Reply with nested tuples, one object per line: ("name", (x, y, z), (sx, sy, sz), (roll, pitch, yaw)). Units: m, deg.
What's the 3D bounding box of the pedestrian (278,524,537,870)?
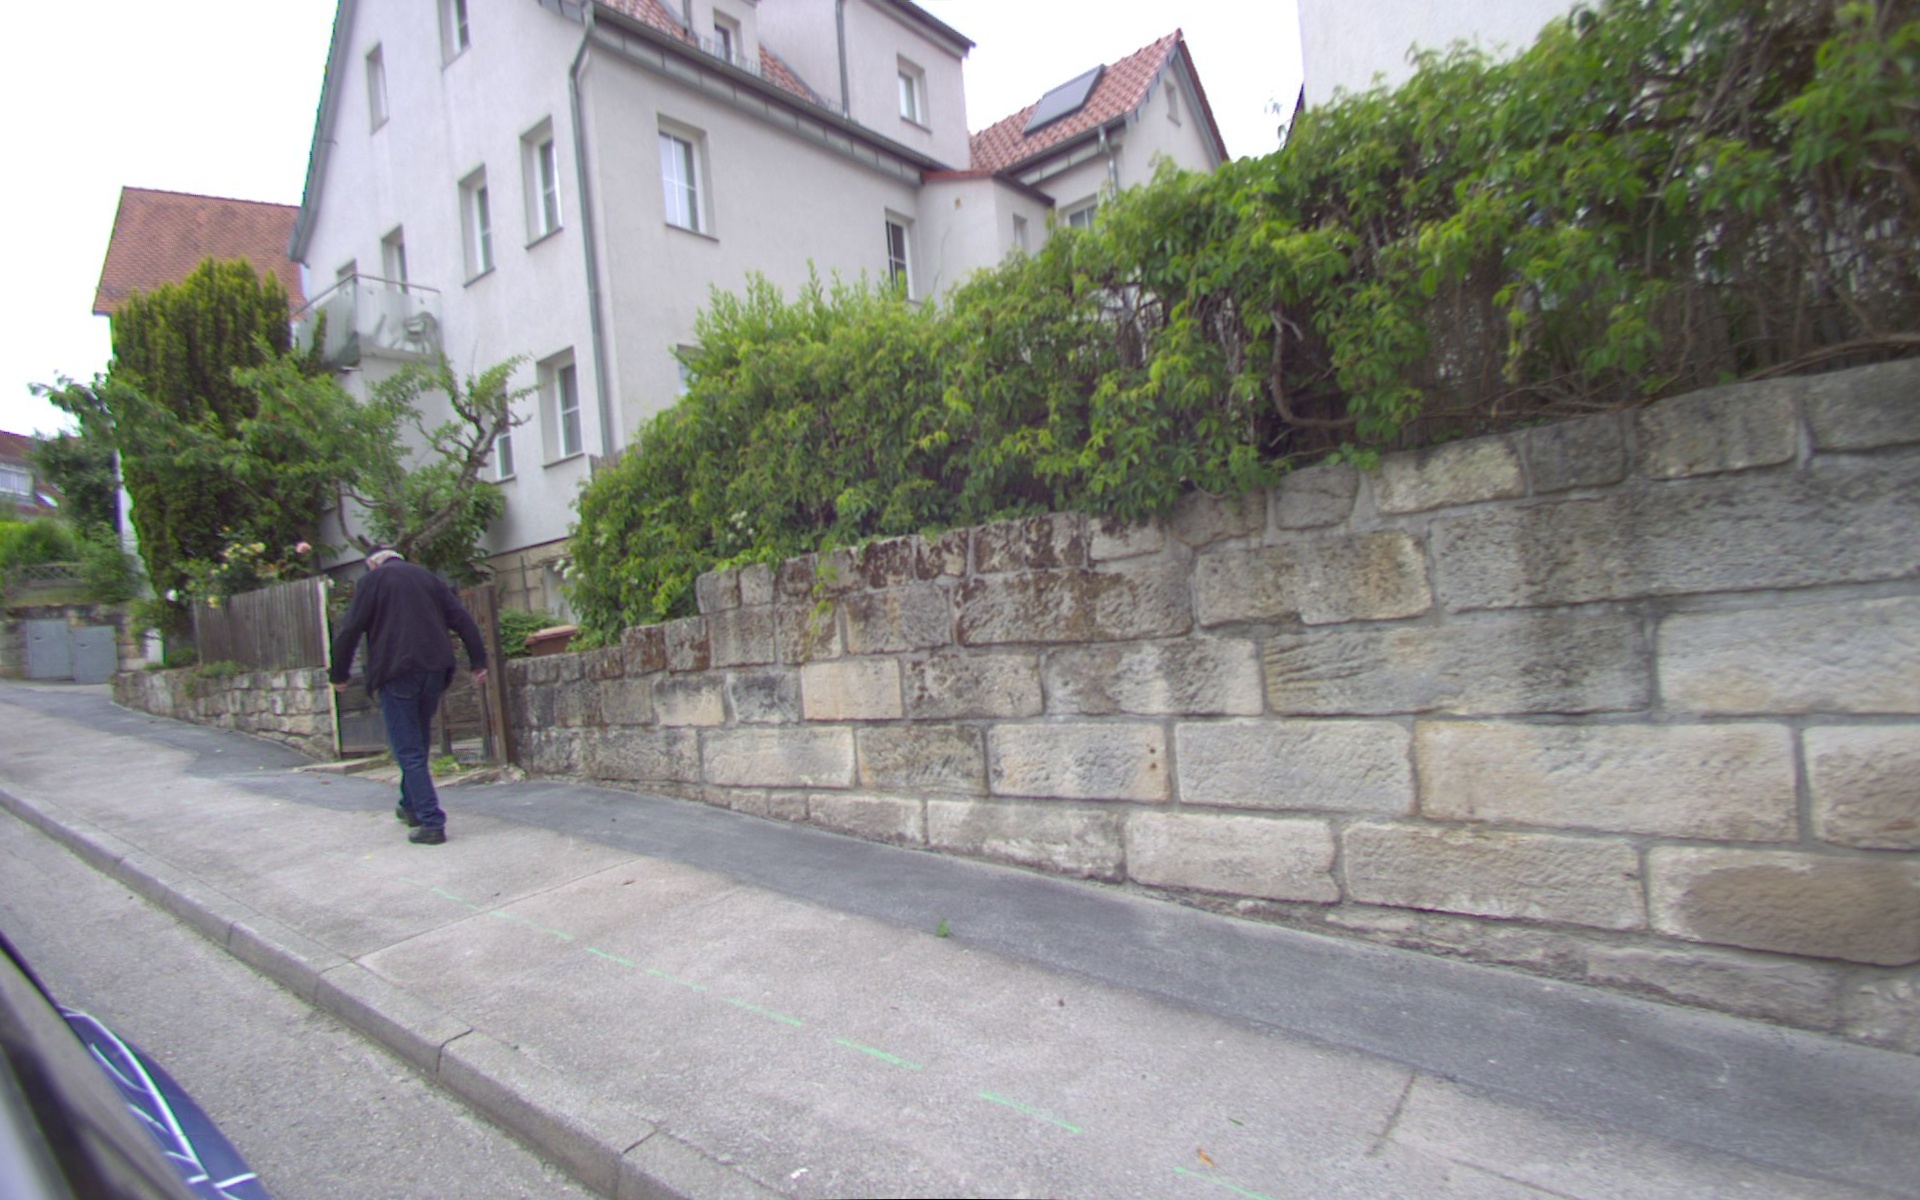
("pedestrian", (-3.050, 0.471, 5.599), (0.975, 1.690, 0.832), (-2, 3, 39))
